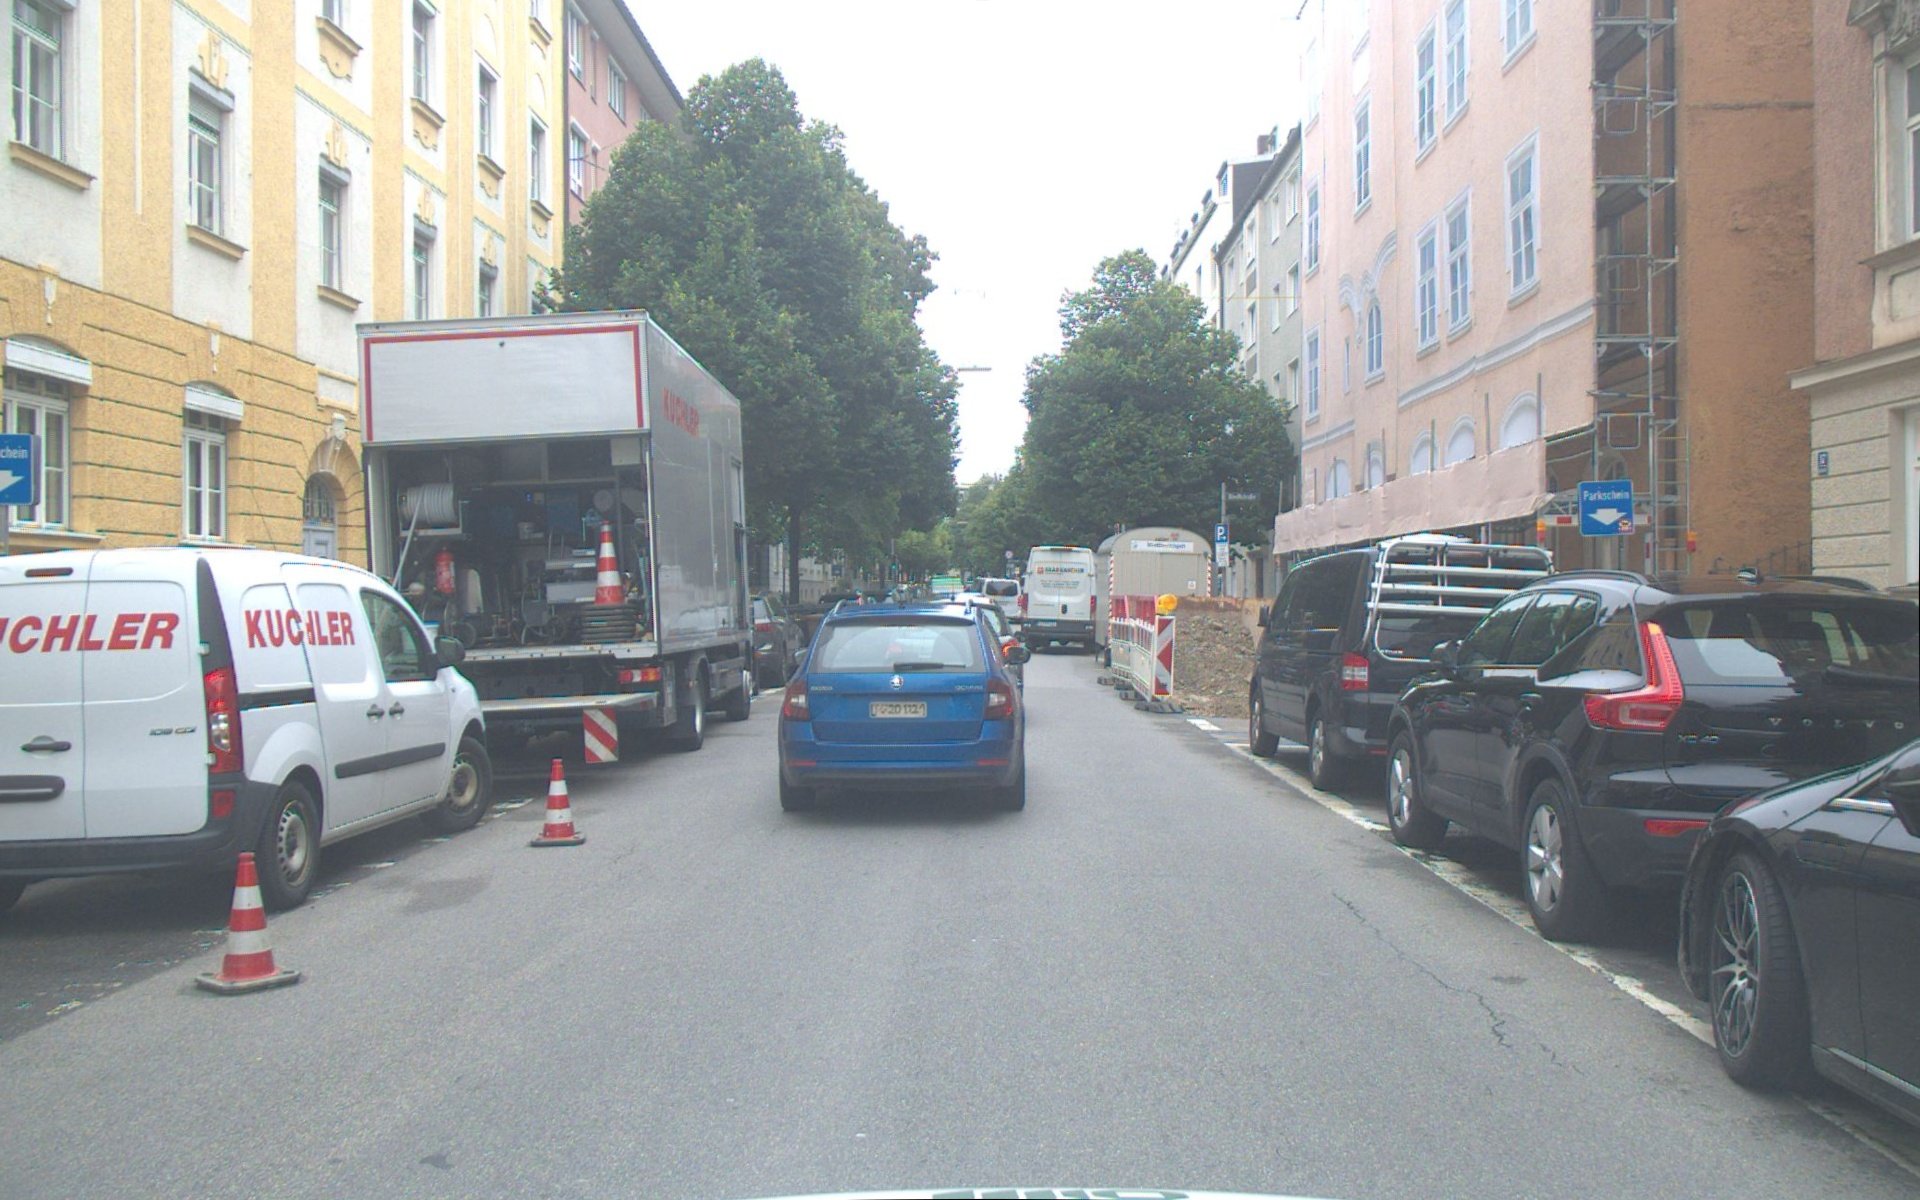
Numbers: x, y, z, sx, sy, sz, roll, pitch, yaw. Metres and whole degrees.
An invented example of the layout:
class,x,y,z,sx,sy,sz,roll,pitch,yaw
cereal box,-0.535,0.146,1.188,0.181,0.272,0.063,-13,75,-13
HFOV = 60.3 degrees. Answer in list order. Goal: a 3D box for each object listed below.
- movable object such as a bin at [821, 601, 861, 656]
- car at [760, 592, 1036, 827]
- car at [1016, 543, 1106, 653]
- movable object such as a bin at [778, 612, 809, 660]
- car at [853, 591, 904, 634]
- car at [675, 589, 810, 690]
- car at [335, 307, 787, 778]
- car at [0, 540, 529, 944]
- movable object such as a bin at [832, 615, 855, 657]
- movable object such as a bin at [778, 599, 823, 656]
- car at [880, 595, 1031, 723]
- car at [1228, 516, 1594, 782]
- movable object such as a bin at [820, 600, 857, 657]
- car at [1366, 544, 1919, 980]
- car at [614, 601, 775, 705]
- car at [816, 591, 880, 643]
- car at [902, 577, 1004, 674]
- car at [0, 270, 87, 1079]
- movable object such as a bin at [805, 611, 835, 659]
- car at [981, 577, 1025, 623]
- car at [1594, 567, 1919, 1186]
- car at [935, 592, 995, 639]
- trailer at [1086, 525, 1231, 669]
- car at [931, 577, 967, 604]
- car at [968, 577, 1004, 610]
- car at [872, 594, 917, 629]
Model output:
class,x,y,z,sx,sy,sz,roll,pitch,yaw
movable object such as a bin,-3.160,0.741,44.156,1.000,1.400,1.103,-2,0,-4
car,-0.325,0.700,12.719,1.752,1.486,4.315,-1,0,2
car,2.767,-0.031,44.236,2.068,2.710,5.504,1,0,6
movable object such as a bin,-4.225,0.912,42.091,0.706,1.158,0.658,-2,0,-3
car,-2.996,0.434,61.611,1.775,1.504,3.999,0,0,-1
car,-3.822,0.647,29.748,1.748,1.657,4.186,-1,0,1
car,-3.765,-0.476,18.081,2.755,3.884,8.723,0,0,0
car,-4.047,0.657,9.733,1.726,1.810,4.327,-2,0,2
movable object such as a bin,-2.965,0.906,42.203,0.535,1.038,0.636,-2,0,-3
movable object such as a bin,-4.136,0.701,42.978,1.060,1.400,1.083,-2,0,-4
car,0.021,0.677,20.682,1.705,1.446,3.665,0,0,2
car,3.798,0.465,14.967,2.039,1.955,5.141,1,-2,2
movable object such as a bin,-3.160,0.731,43.058,0.900,1.400,1.079,-2,0,-3
car,3.542,0.678,8.941,1.658,1.706,4.408,3,0,2
car,-3.918,0.747,24.939,1.664,1.434,3.709,-1,0,2
car,-3.414,0.502,50.879,1.775,1.504,3.999,0,0,-1
car,-0.119,0.442,32.161,1.829,1.726,4.347,1,1,0
car,-4.155,0.297,2.312,2.014,2.632,6.877,-4,0,0
movable object such as a bin,-3.571,0.887,42.144,0.697,1.168,0.636,-2,0,-3
car,1.908,-0.014,72.498,1.829,1.902,4.348,1,1,2
car,3.401,0.715,3.563,1.891,1.580,5.636,0,0,0
car,0.172,0.467,53.280,1.829,1.371,4.348,1,1,1
trailer,4.299,-0.040,37.135,2.451,2.889,6.901,1,0,1
car,-0.722,-0.612,104.261,1.968,1.682,4.343,1,1,-5
car,1.355,-0.362,86.450,1.829,1.682,4.348,1,1,1
car,-2.906,0.492,73.653,1.775,1.504,4.000,0,0,1
